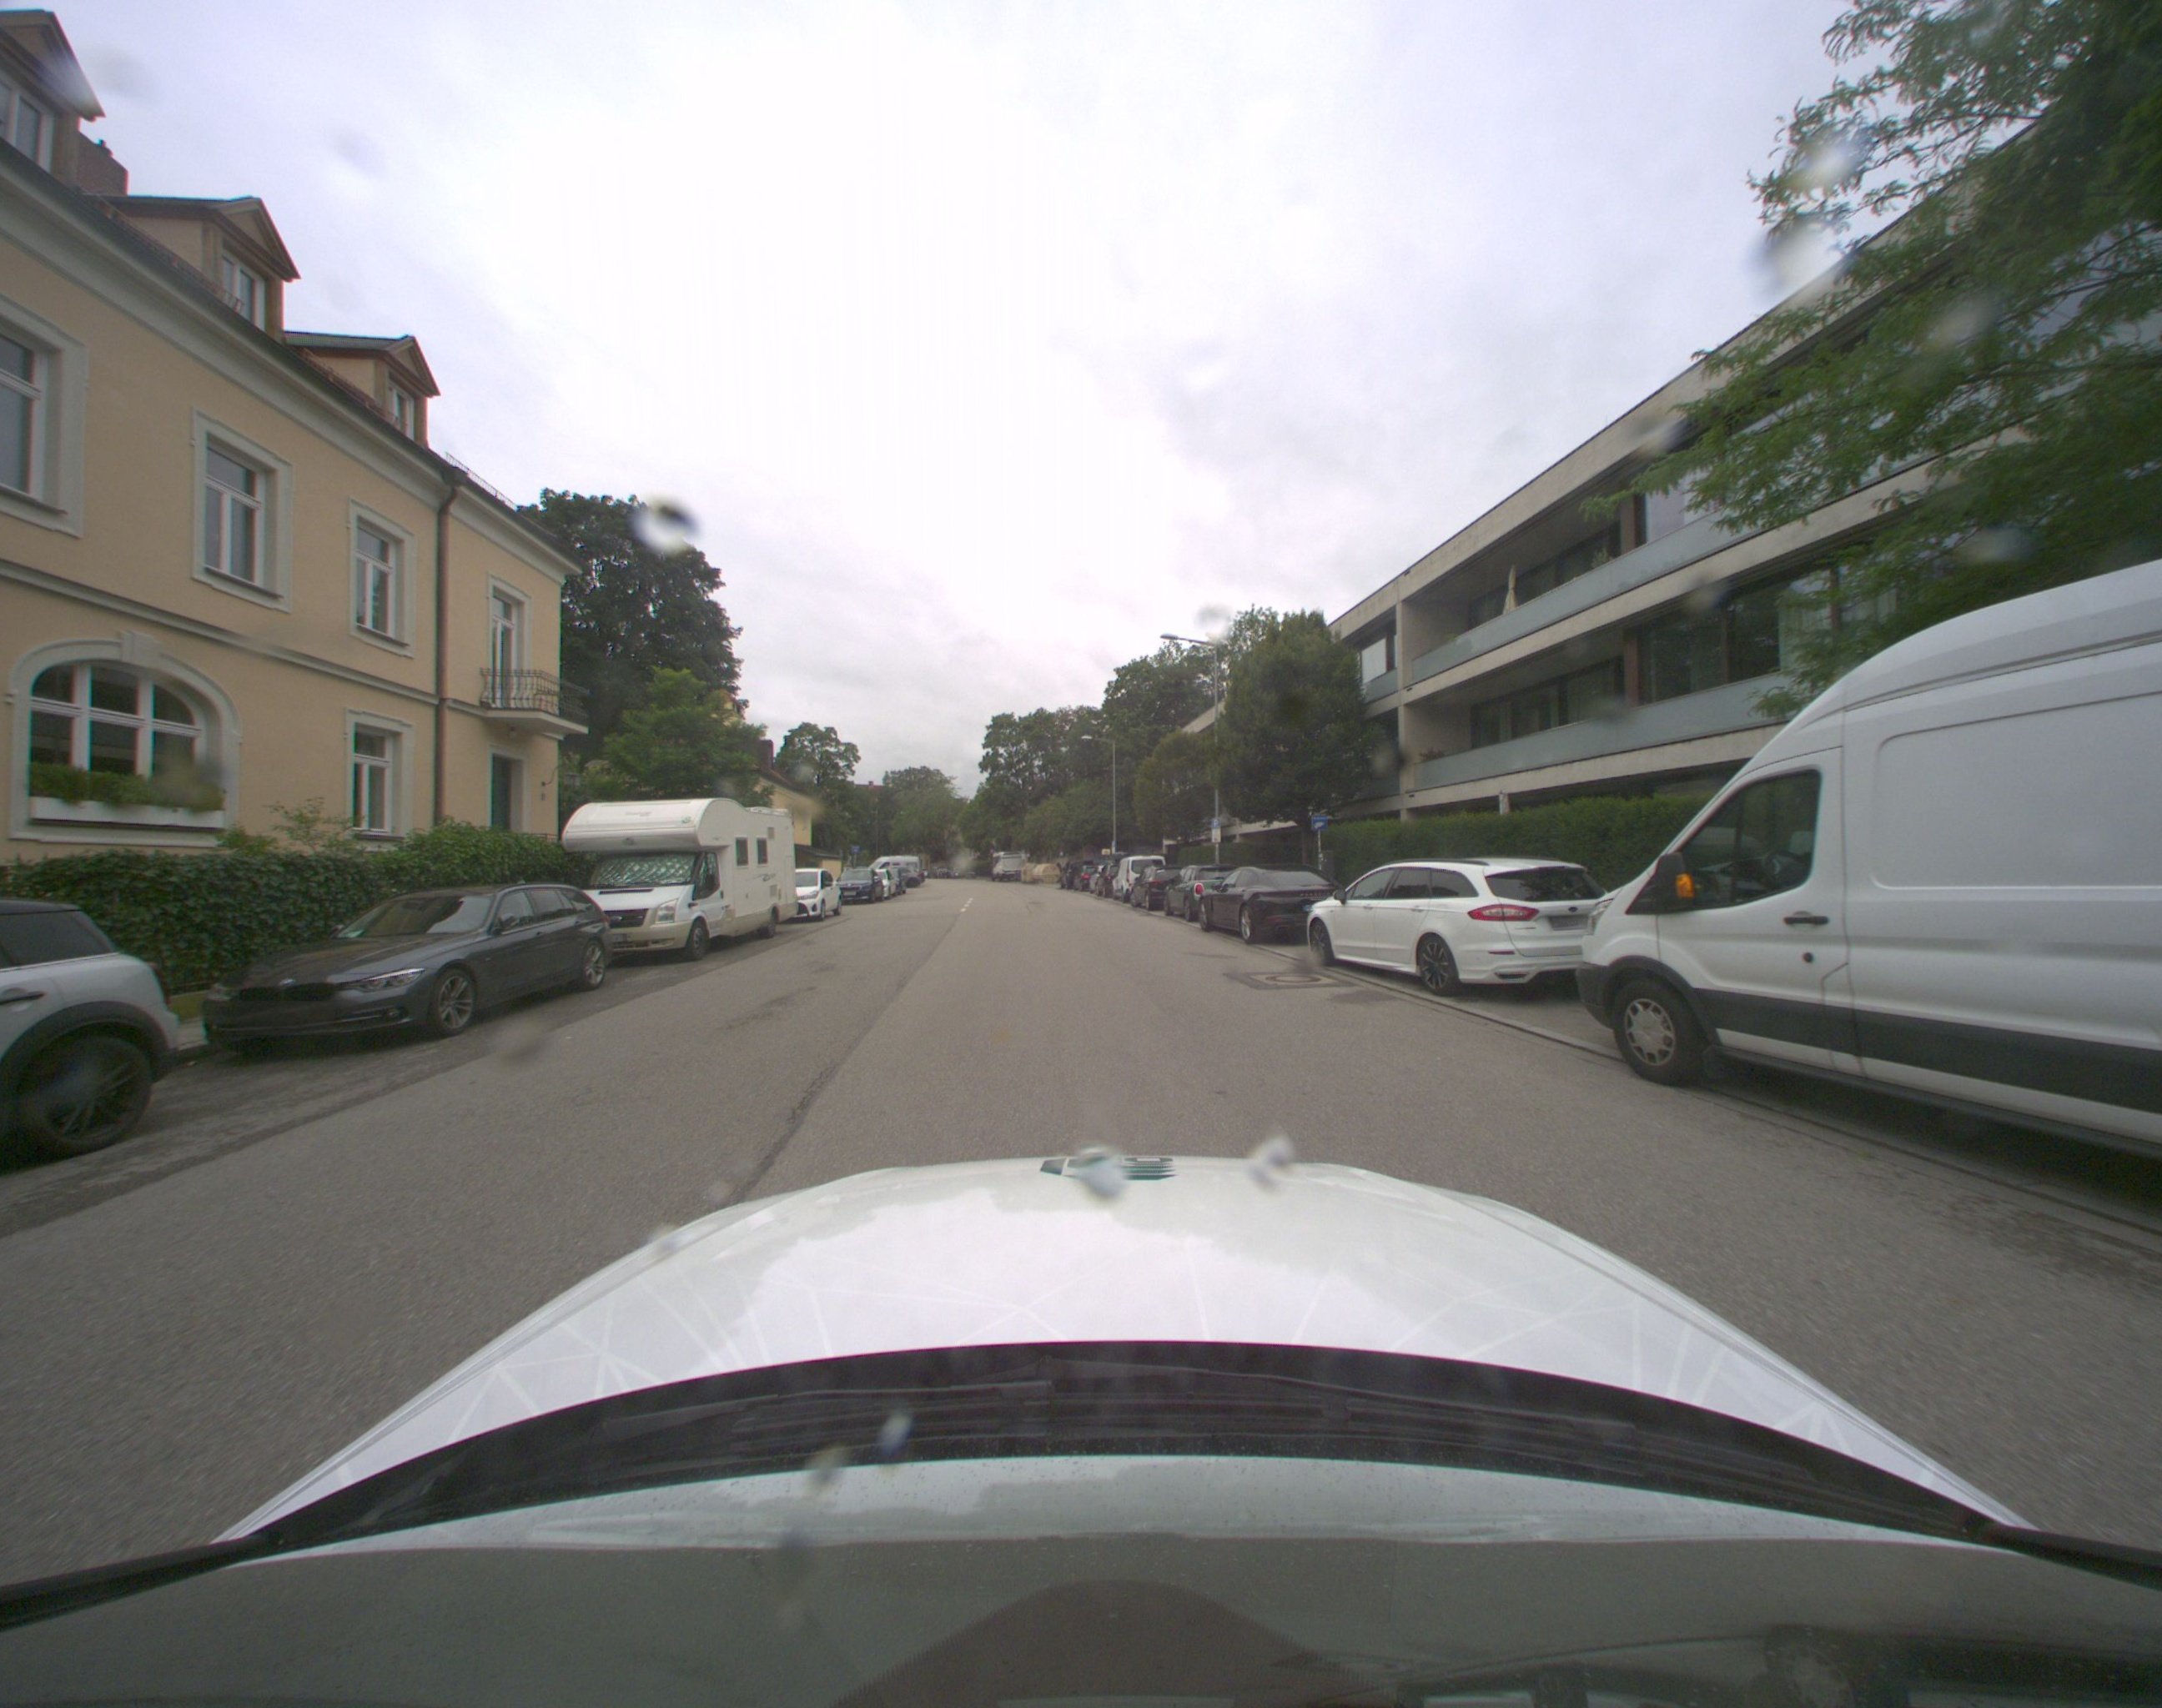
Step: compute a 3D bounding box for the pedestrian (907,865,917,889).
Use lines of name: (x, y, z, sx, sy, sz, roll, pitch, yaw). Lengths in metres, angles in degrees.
pedestrian: (-12.132, 1.658, 58.487, 0.591, 1.648, 0.710, -2, 0, -16)

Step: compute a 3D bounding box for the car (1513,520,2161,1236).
car: (4.996, 0.061, 3.760, 2.078, 2.686, 6.072, -3, 0, -8)

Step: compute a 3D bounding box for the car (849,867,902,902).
car: (-10.063, 1.461, 40.172, 1.843, 1.535, 4.511, -3, 0, -6)

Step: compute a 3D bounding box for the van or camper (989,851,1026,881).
van or camper: (-7.726, 1.250, 84.288, 2.279, 2.906, 7.232, 0, -1, -18)

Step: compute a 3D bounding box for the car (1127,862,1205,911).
car: (2.751, 1.025, 27.298, 1.746, 1.464, 4.233, -1, -1, -6)

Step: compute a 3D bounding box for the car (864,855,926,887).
car: (-15.916, 1.411, 69.882, 4.661, 2.563, 2.208, -1, 0, -40)

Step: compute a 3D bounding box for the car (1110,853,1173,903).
car: (2.367, 0.931, 33.160, 1.819, 1.861, 4.889, 1, -1, -5)

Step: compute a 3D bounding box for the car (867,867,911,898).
car: (-10.572, 1.521, 45.053, 1.844, 1.535, 4.549, -3, 0, -7)

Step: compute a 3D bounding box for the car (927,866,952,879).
car: (-20.298, 2.629, 116.716, 2.006, 1.711, 4.838, -2, 0, -29)

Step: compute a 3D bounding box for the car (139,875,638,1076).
car: (-7.127, 1.069, 9.287, 1.934, 1.508, 4.810, -3, 0, -7)

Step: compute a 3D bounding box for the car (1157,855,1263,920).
car: (3.359, 0.837, 22.007, 1.725, 1.529, 4.195, -2, 0, -6)

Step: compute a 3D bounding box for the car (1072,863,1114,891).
car: (0.643, 1.347, 48.513, 1.747, 1.539, 4.555, 0, -1, -9)

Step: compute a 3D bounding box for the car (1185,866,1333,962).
car: (3.382, 1.060, 16.529, 1.280, 1.506, 5.195, -3, 0, -6)

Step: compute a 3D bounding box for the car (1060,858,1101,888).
car: (-0.085, 1.284, 53.822, 1.987, 1.871, 5.061, 0, -2, -9)

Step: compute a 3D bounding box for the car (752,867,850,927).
car: (-8.205, 1.196, 24.242, 1.776, 1.535, 4.218, -3, 0, -6)

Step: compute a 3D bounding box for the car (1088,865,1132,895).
car: (1.460, 1.310, 42.861, 1.746, 1.480, 3.878, -1, -1, -7)

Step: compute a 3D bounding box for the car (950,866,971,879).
car: (-16.167, 2.470, 109.052, 1.750, 1.536, 2.918, -2, -1, -29)

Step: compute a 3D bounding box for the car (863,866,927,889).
car: (-13.540, 1.726, 59.251, 4.346, 1.530, 1.920, -1, -2, -20)

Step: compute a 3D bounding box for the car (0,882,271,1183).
car: (-6.574, 0.994, 3.453, 1.933, 1.535, 4.522, -3, 0, -5)

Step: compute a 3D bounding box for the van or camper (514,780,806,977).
van or camper: (-7.701, 0.407, 16.187, 2.451, 2.941, 7.199, -2, -1, -5)

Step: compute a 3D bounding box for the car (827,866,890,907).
car: (-9.580, 1.373, 35.387, 1.843, 1.535, 4.431, -3, -1, -6)

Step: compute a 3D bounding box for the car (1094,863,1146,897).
car: (1.756, 1.183, 38.261, 1.746, 1.480, 4.587, 0, 0, -6)

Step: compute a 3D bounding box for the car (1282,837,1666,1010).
car: (4.489, 0.668, 10.430, 1.870, 1.569, 4.985, -3, 0, -9)

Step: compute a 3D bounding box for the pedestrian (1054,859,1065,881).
pedestrian: (-1.946, 1.481, 74.325, 0.798, 1.985, 0.627, 0, -1, -18)
